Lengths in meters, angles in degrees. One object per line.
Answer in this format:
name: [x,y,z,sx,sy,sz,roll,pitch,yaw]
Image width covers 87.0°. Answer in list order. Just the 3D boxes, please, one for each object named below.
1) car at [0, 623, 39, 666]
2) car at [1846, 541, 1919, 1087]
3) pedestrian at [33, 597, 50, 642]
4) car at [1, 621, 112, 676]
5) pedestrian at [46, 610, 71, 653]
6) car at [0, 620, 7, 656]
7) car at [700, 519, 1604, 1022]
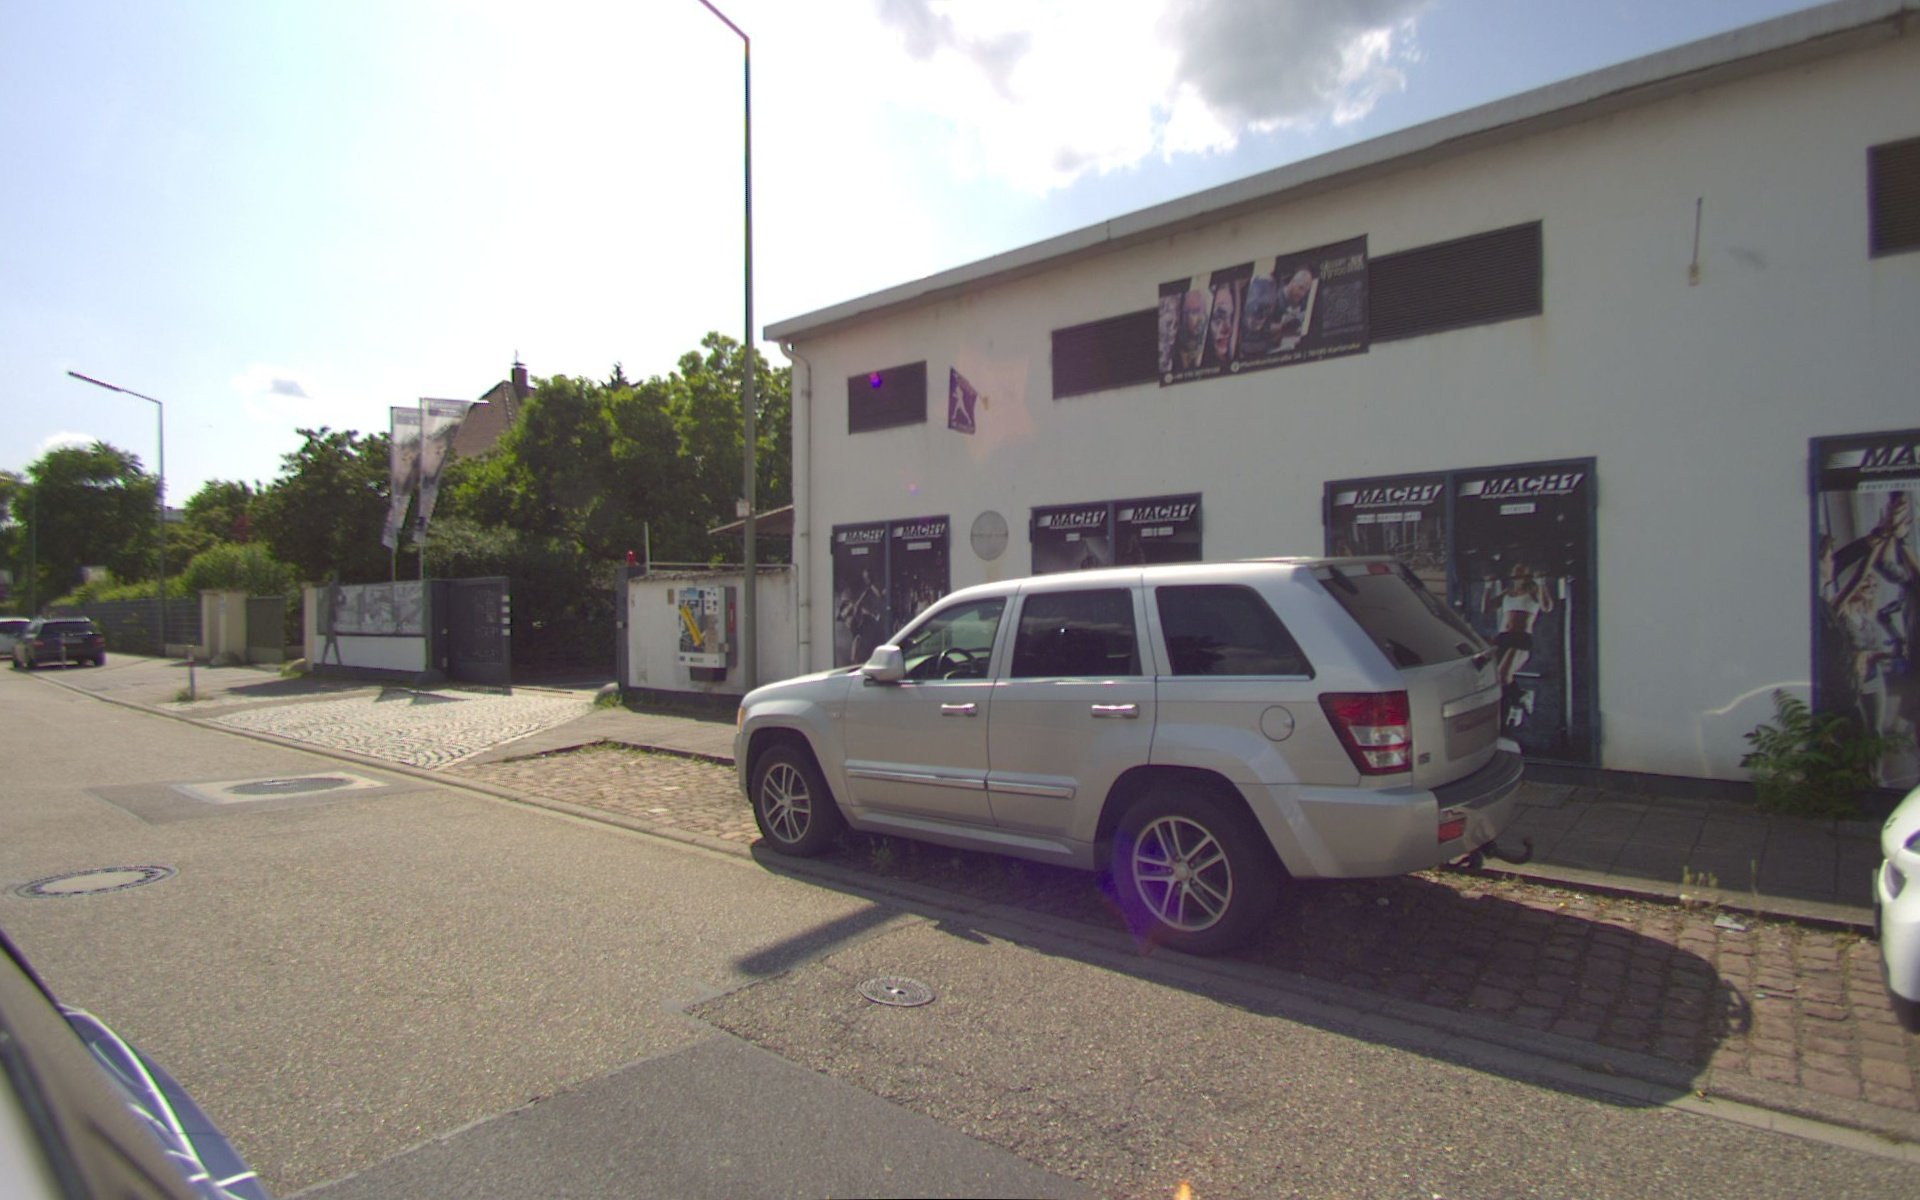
car: [-36.160,1.655,38.050,4.170,1.534,1.605,-1,-1,38]
car: [4.342,0.580,2.624,3.009,1.585,1.592,-1,3,43]
pedestrian: [-39.244,0.845,43.230,0.677,1.908,0.446,-1,0,41]
car: [-26.669,1.379,29.840,4.493,1.429,1.787,-1,1,40]
pedestrian: [-39.101,1.347,43.893,0.915,1.814,0.700,0,0,41]
car: [-43.043,1.654,44.224,4.026,1.488,1.628,-1,0,41]
car: [0.693,0.578,5.715,4.749,1.732,1.772,-1,2,41]
